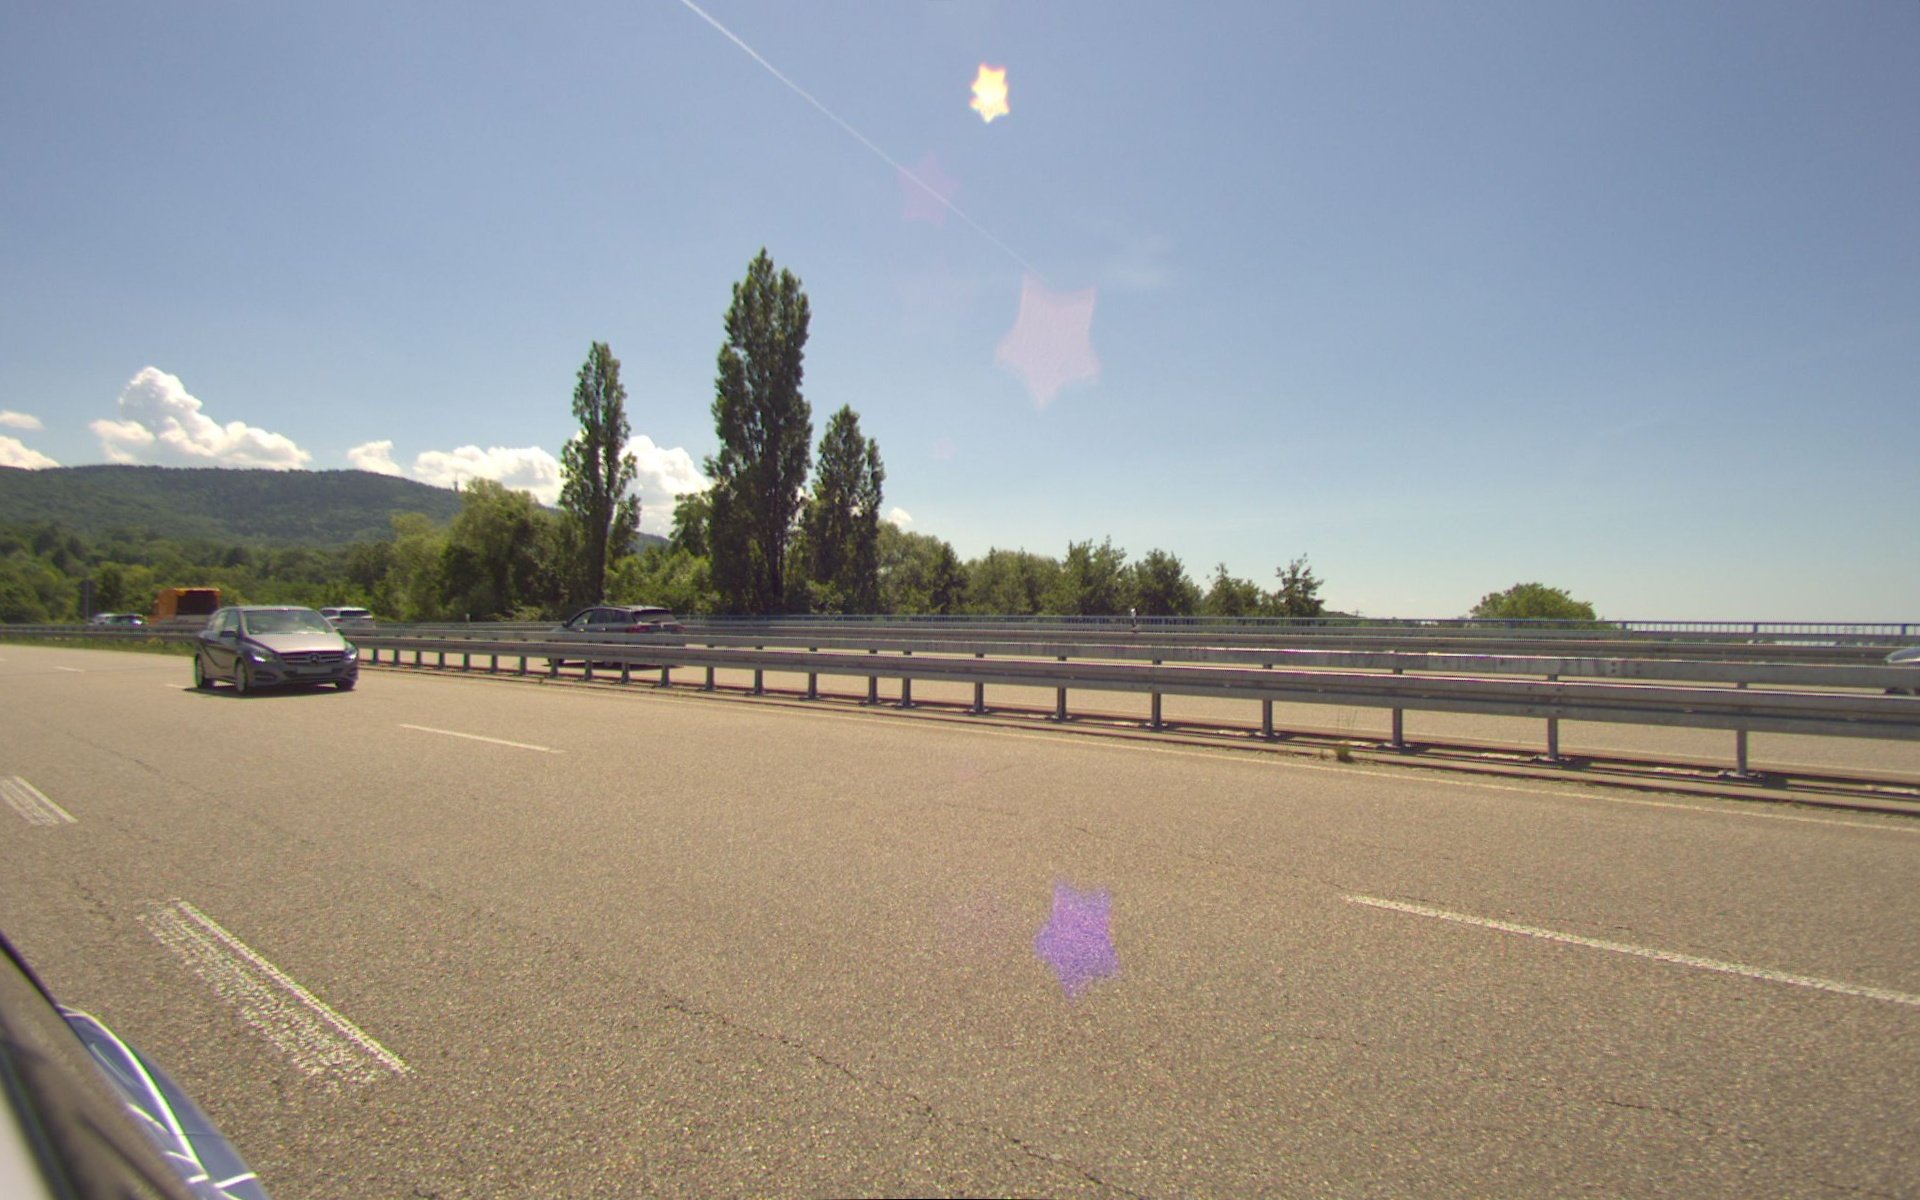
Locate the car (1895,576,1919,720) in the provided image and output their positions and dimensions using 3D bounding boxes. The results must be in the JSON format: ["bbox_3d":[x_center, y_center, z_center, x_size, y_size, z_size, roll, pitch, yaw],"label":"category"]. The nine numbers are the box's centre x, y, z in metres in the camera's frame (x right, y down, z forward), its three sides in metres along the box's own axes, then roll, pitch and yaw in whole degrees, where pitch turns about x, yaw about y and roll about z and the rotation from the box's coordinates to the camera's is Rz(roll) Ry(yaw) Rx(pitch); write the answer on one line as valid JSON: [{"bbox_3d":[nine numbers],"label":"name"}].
[{"bbox_3d":[13.605,0.577,10.953,5.048,1.680,1.824,0,-1,41],"label":"car"}]

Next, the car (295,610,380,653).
[{"bbox_3d":[-28.800,1.429,46.750,4.789,1.832,1.835,0,-1,39],"label":"car"}]

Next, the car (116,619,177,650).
[{"bbox_3d":[-41.595,1.738,51.724,3.945,1.439,1.707,0,-1,40],"label":"car"}]

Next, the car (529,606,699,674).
[{"bbox_3d":[-8.659,0.957,25.129,4.681,1.516,1.885,-1,-1,41],"label":"car"}]

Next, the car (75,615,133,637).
[{"bbox_3d":[-57.814,1.736,68.322,4.784,1.443,1.836,-1,-1,36],"label":"car"}]

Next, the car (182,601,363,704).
[{"bbox_3d":[-12.957,0.901,18.959,4.553,1.680,1.774,-1,0,42],"label":"car"}]

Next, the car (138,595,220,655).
[{"bbox_3d":[-45.711,1.441,59.171,7.021,3.317,2.282,-1,-2,40],"label":"car"}]
